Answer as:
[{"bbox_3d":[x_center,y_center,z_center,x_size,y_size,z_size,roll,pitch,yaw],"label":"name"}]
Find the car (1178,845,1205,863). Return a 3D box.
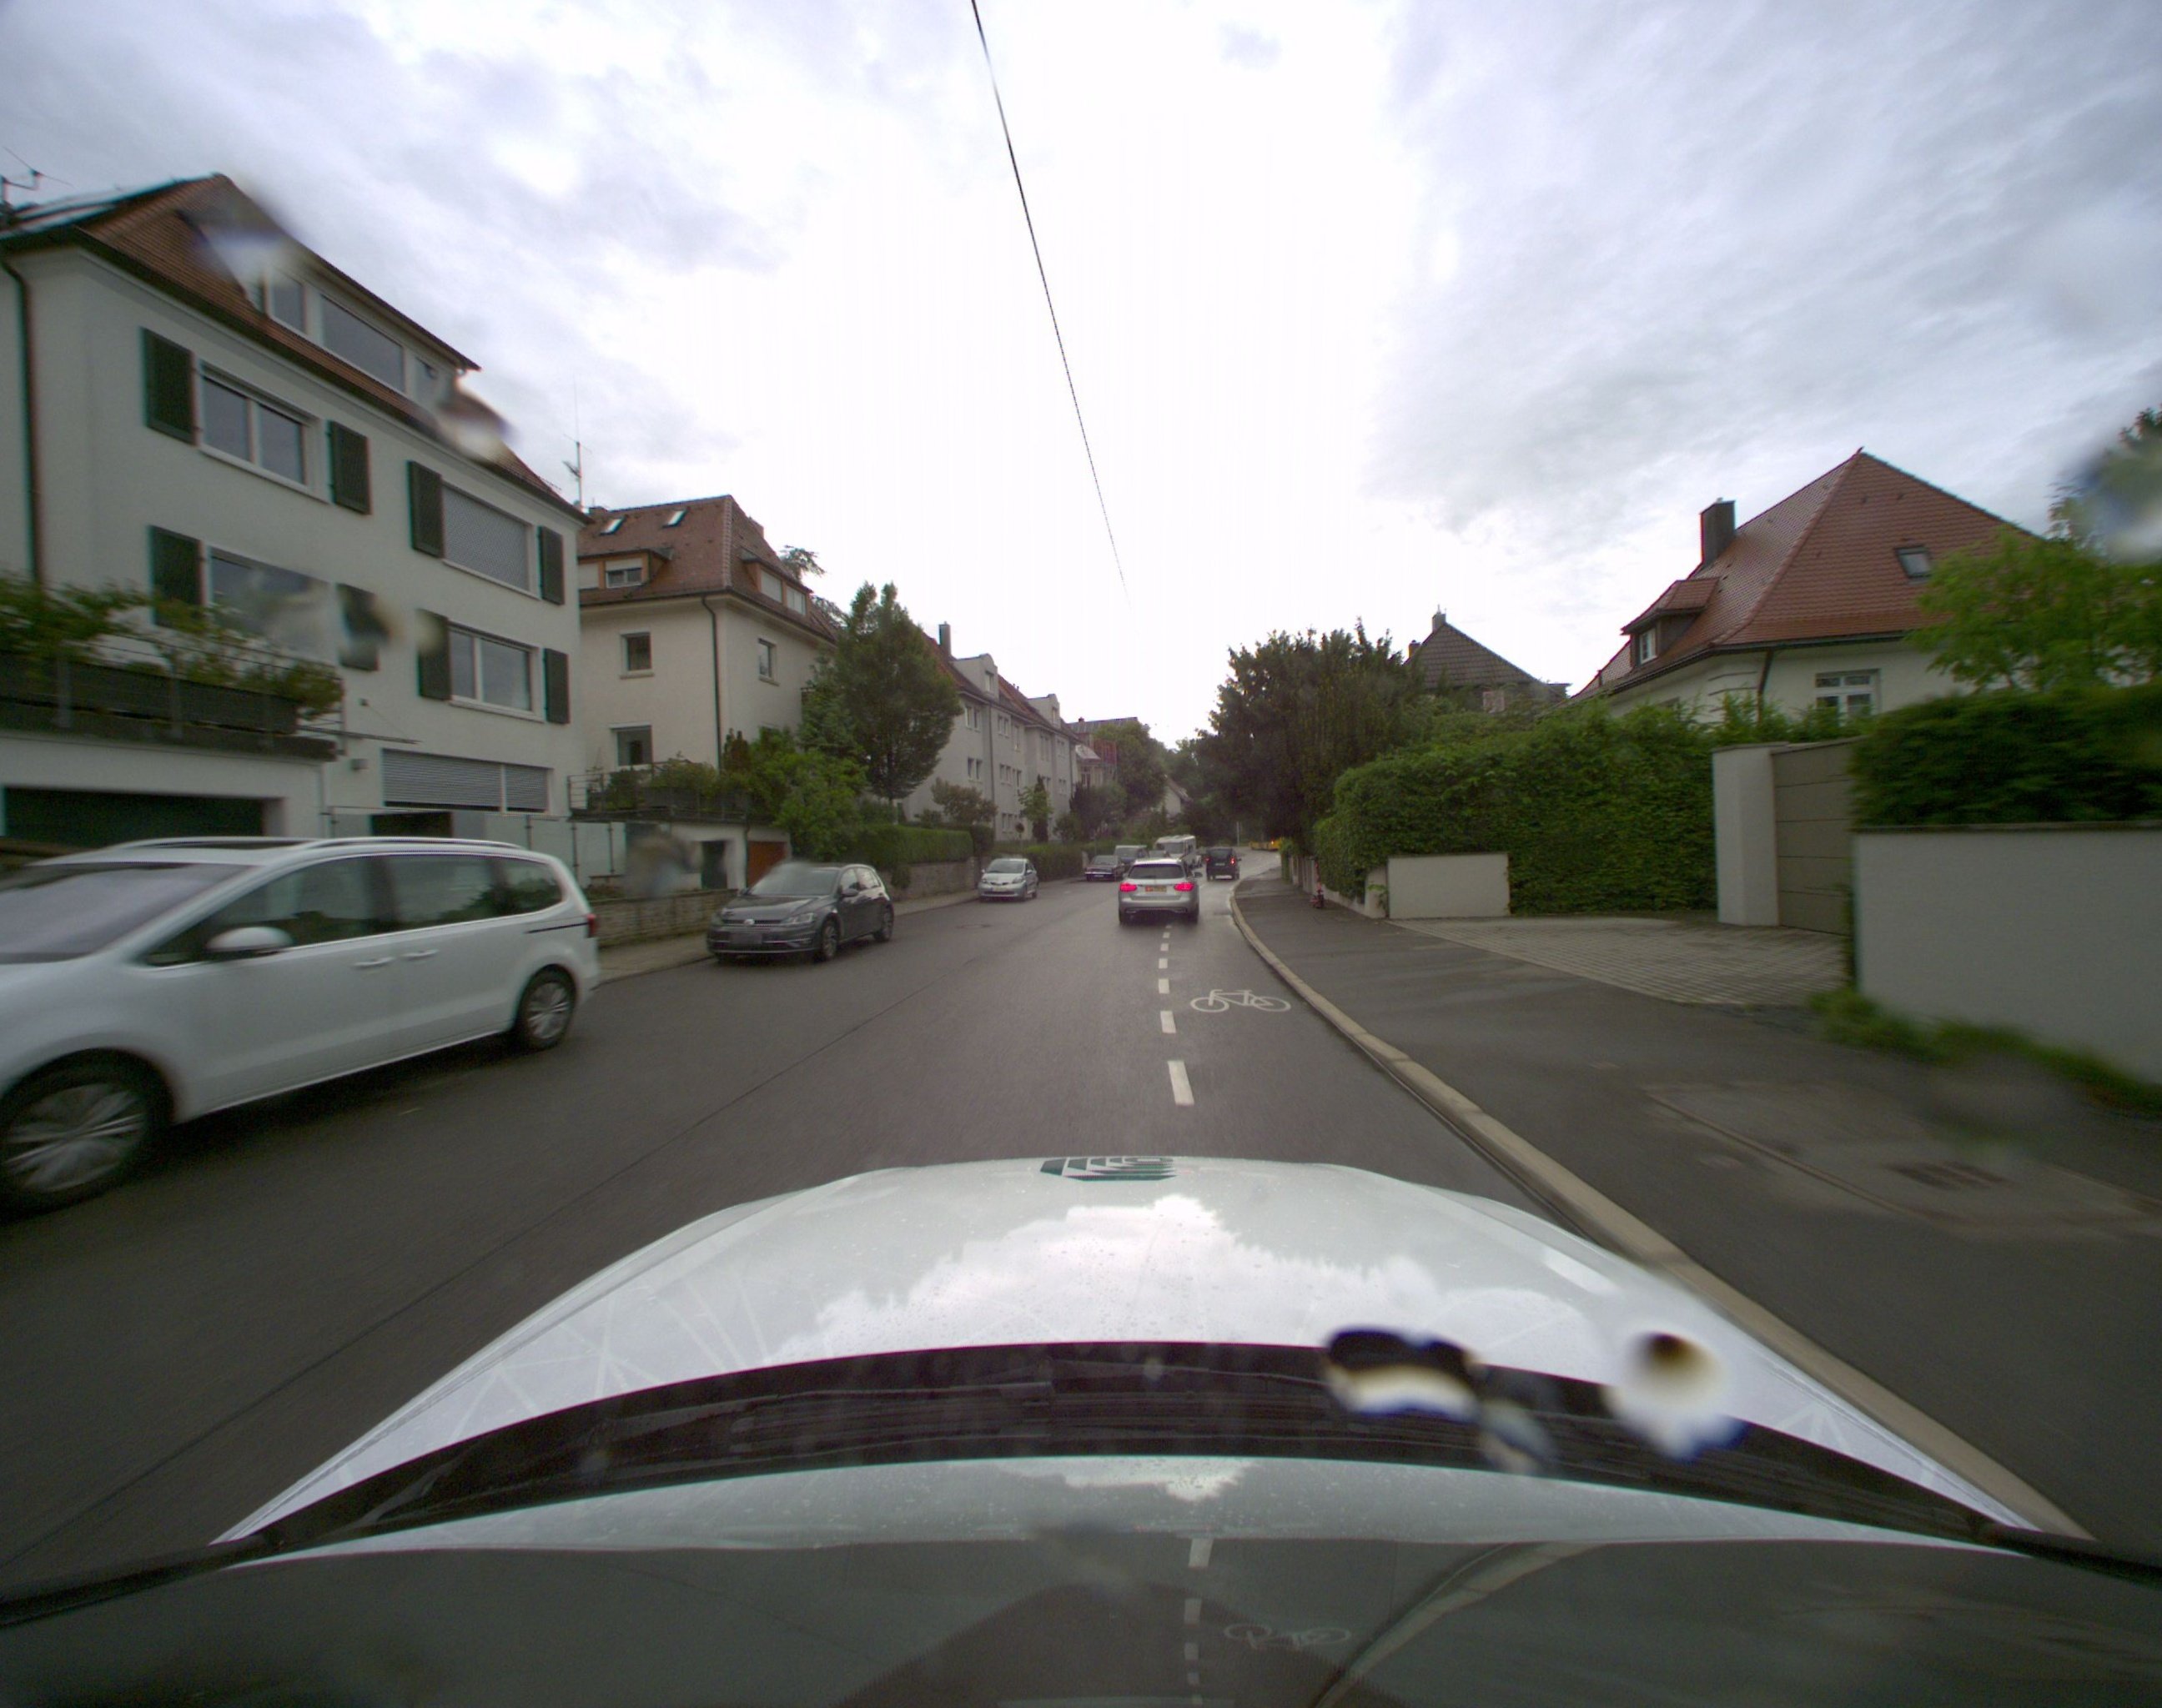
[{"bbox_3d":[9.552,-0.004,70.161,1.699,1.447,3.271,0,3,19],"label":"car"}]

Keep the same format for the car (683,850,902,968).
[{"bbox_3d":[-4.486,0.752,13.412,1.783,1.580,4.144,1,1,5],"label":"car"}]

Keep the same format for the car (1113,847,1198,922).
[{"bbox_3d":[1.855,0.630,19.333,1.806,1.556,4.009,0,1,8],"label":"car"}]

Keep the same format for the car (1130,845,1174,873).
[{"bbox_3d":[5.026,0.335,57.298,1.977,1.688,4.700,0,3,19],"label":"car"}]

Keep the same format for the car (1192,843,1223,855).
[{"bbox_3d":[16.591,-0.682,106.914,3.963,1.419,1.893,-1,2,9],"label":"car"}]

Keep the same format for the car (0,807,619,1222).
[{"bbox_3d":[-5.337,0.619,5.105,1.985,1.702,4.742,1,1,2],"label":"car"}]

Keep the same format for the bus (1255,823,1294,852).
[{"bbox_3d":[26.426,-2.379,111.905,2.919,3.650,10.168,-1,2,0],"label":"bus"}]

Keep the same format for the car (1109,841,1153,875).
[{"bbox_3d":[3.217,0.257,51.582,1.816,2.056,5.030,0,0,15],"label":"car"}]

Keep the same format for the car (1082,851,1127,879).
[{"bbox_3d":[1.384,0.599,46.092,1.632,1.417,4.629,-1,1,12],"label":"car"}]

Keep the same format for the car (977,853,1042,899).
[{"bbox_3d":[-2.461,0.739,28.796,1.597,1.486,3.494,-1,0,7],"label":"car"}]

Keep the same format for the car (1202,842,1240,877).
[{"bbox_3d":[8.156,0.288,47.101,1.830,1.904,4.015,-1,0,14],"label":"car"}]

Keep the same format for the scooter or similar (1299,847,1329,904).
[{"bbox_3d":[5.641,0.506,19.780,0.447,1.307,1.485,-3,-1,8],"label":"scooter or similar"}]

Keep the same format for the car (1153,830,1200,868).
[{"bbox_3d":[7.668,-0.446,64.775,2.371,2.771,6.563,0,2,18],"label":"car"}]
